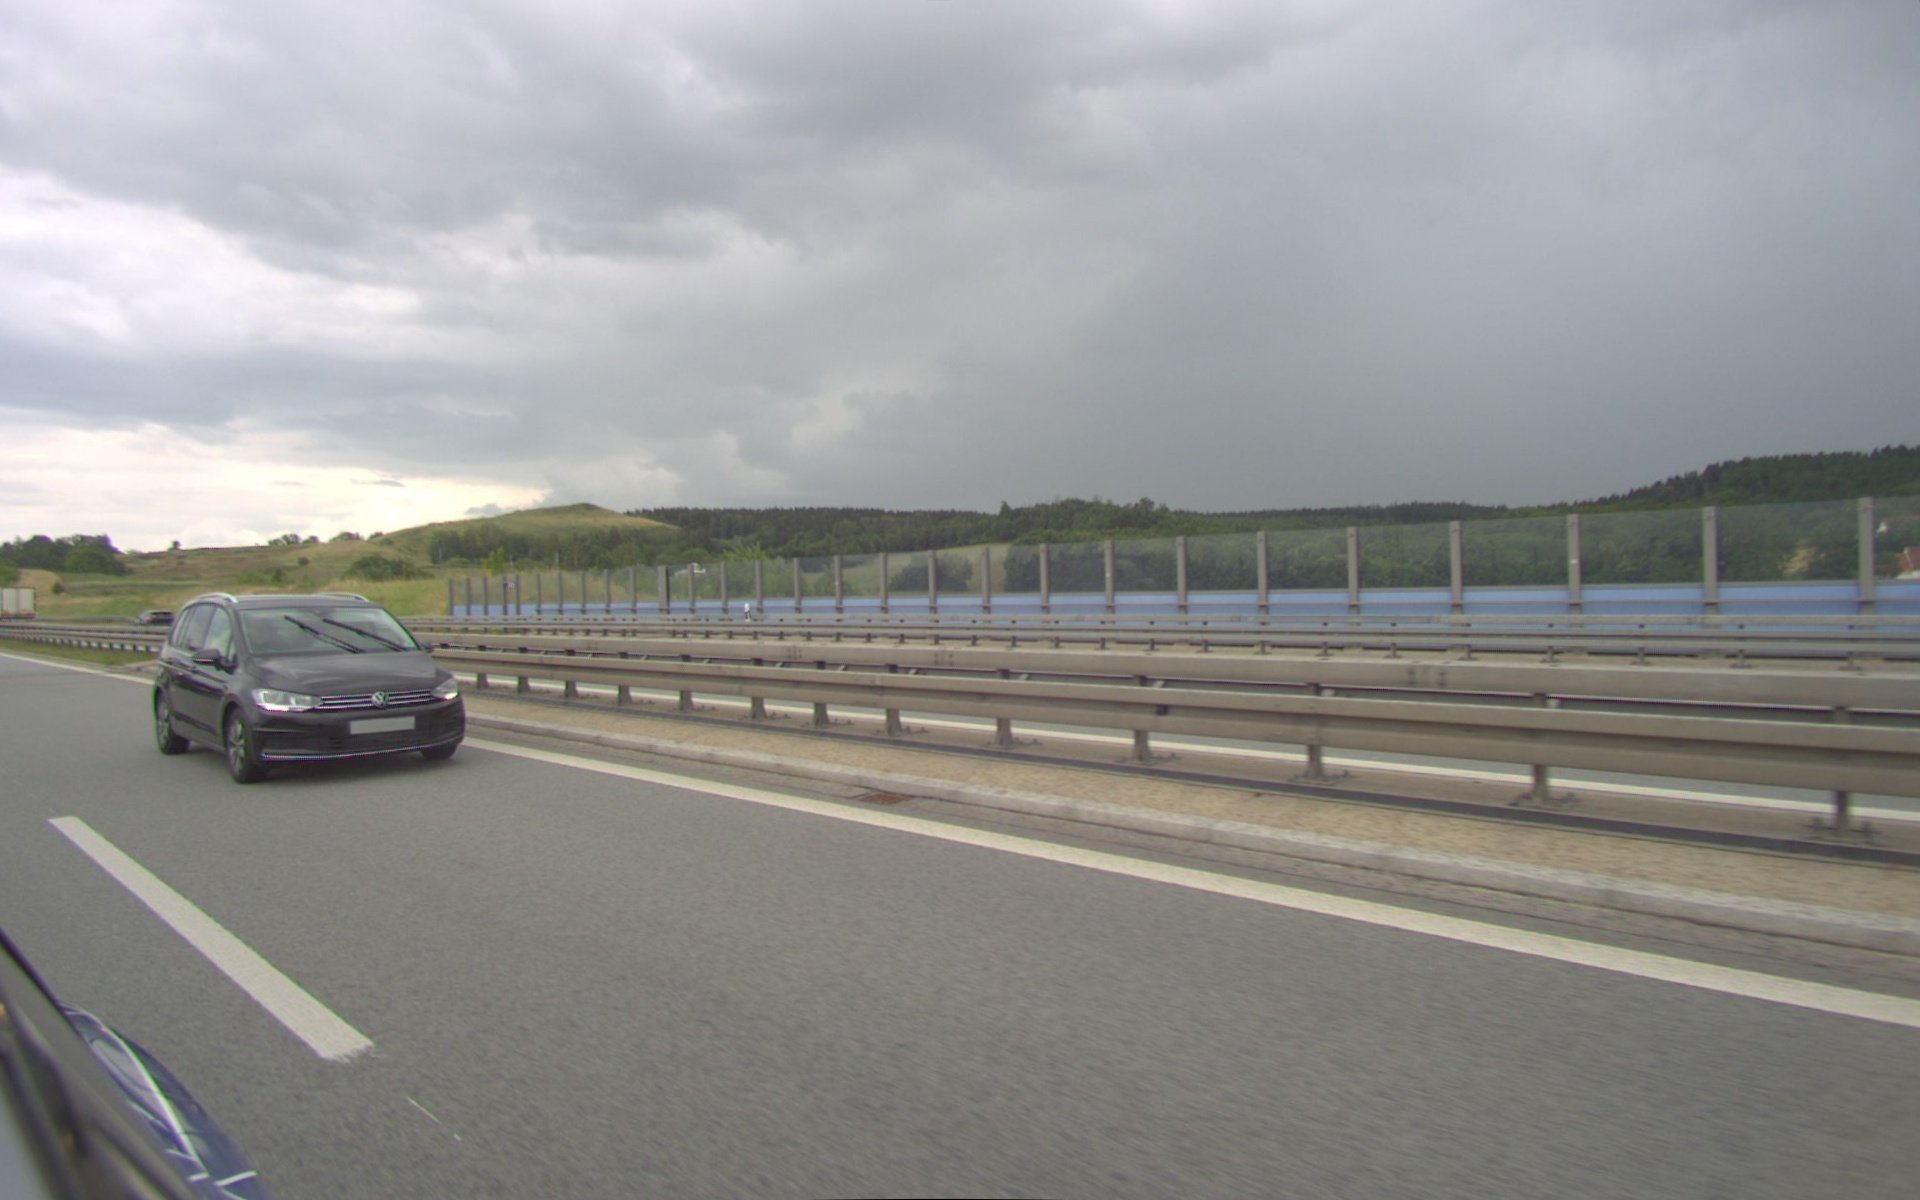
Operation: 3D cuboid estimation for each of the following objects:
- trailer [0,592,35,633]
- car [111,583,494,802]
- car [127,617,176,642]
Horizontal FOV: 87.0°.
[{"bbox_3d":[-97.446,1.295,103.235,14.267,3.955,2.887,-1,0,41],"label":"trailer"},{"bbox_3d":[-6.901,0.739,10.310,5.394,1.683,1.876,-1,0,41],"label":"car"},{"bbox_3d":[-48.911,1.748,61.212,3.998,1.419,1.614,-1,0,41],"label":"car"}]
